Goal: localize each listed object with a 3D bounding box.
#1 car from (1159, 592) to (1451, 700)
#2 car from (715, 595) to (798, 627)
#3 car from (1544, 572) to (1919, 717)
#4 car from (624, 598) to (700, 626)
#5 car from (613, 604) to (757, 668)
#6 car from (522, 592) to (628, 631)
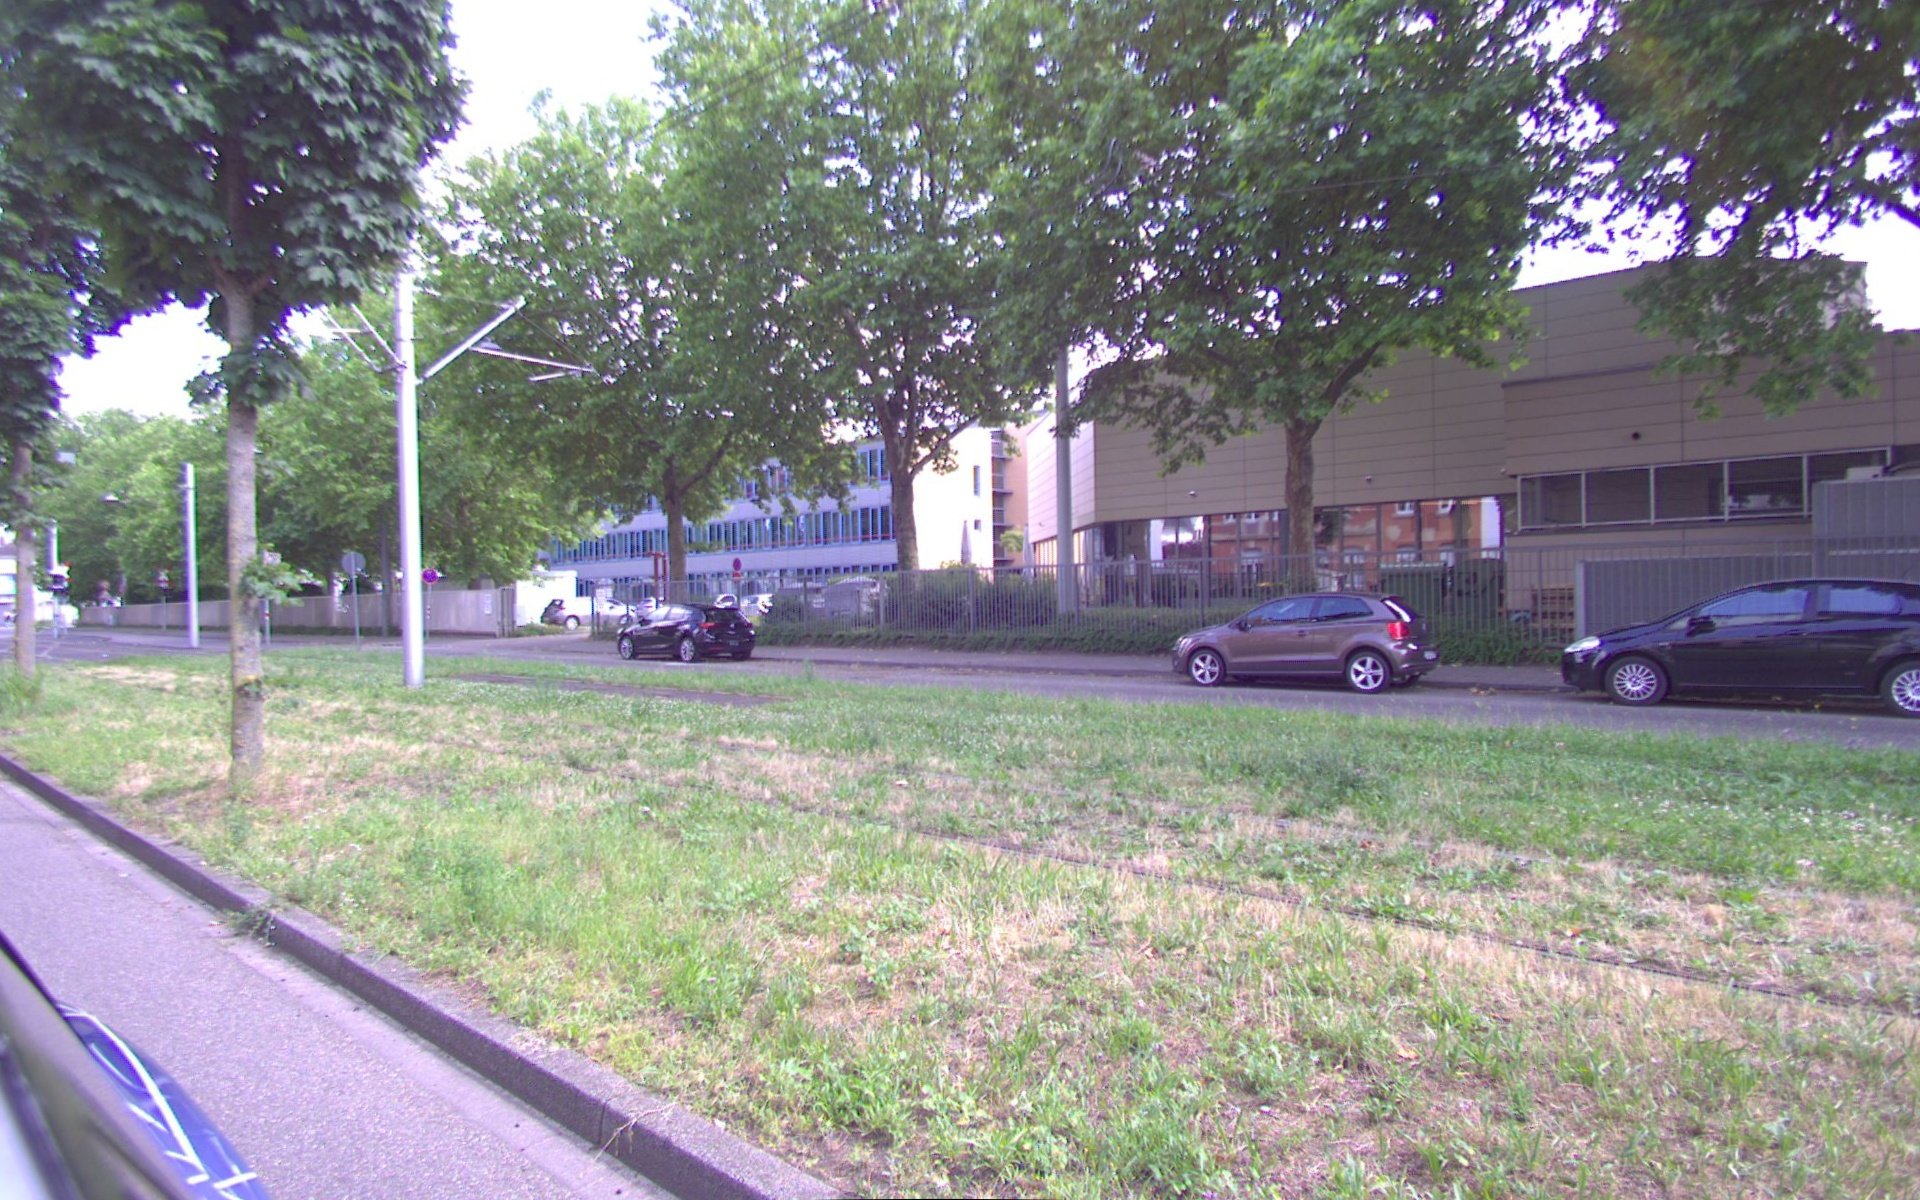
[{"bbox_3d":[5.152,0.642,15.391,3.899,1.436,1.538,-1,0,40],"label":"car"},{"bbox_3d":[-10.730,0.565,53.466,1.998,1.630,3.948,-1,0,38],"label":"car"},{"bbox_3d":[9.300,0.455,11.814,4.000,1.464,1.783,-1,0,43],"label":"car"},{"bbox_3d":[-17.791,0.682,60.584,1.998,1.630,3.948,-1,0,38],"label":"car"},{"bbox_3d":[-6.992,0.868,25.506,3.999,1.475,1.580,-1,0,42],"label":"car"},{"bbox_3d":[-17.068,0.498,44.977,1.998,1.630,3.948,-1,0,38],"label":"car"}]
